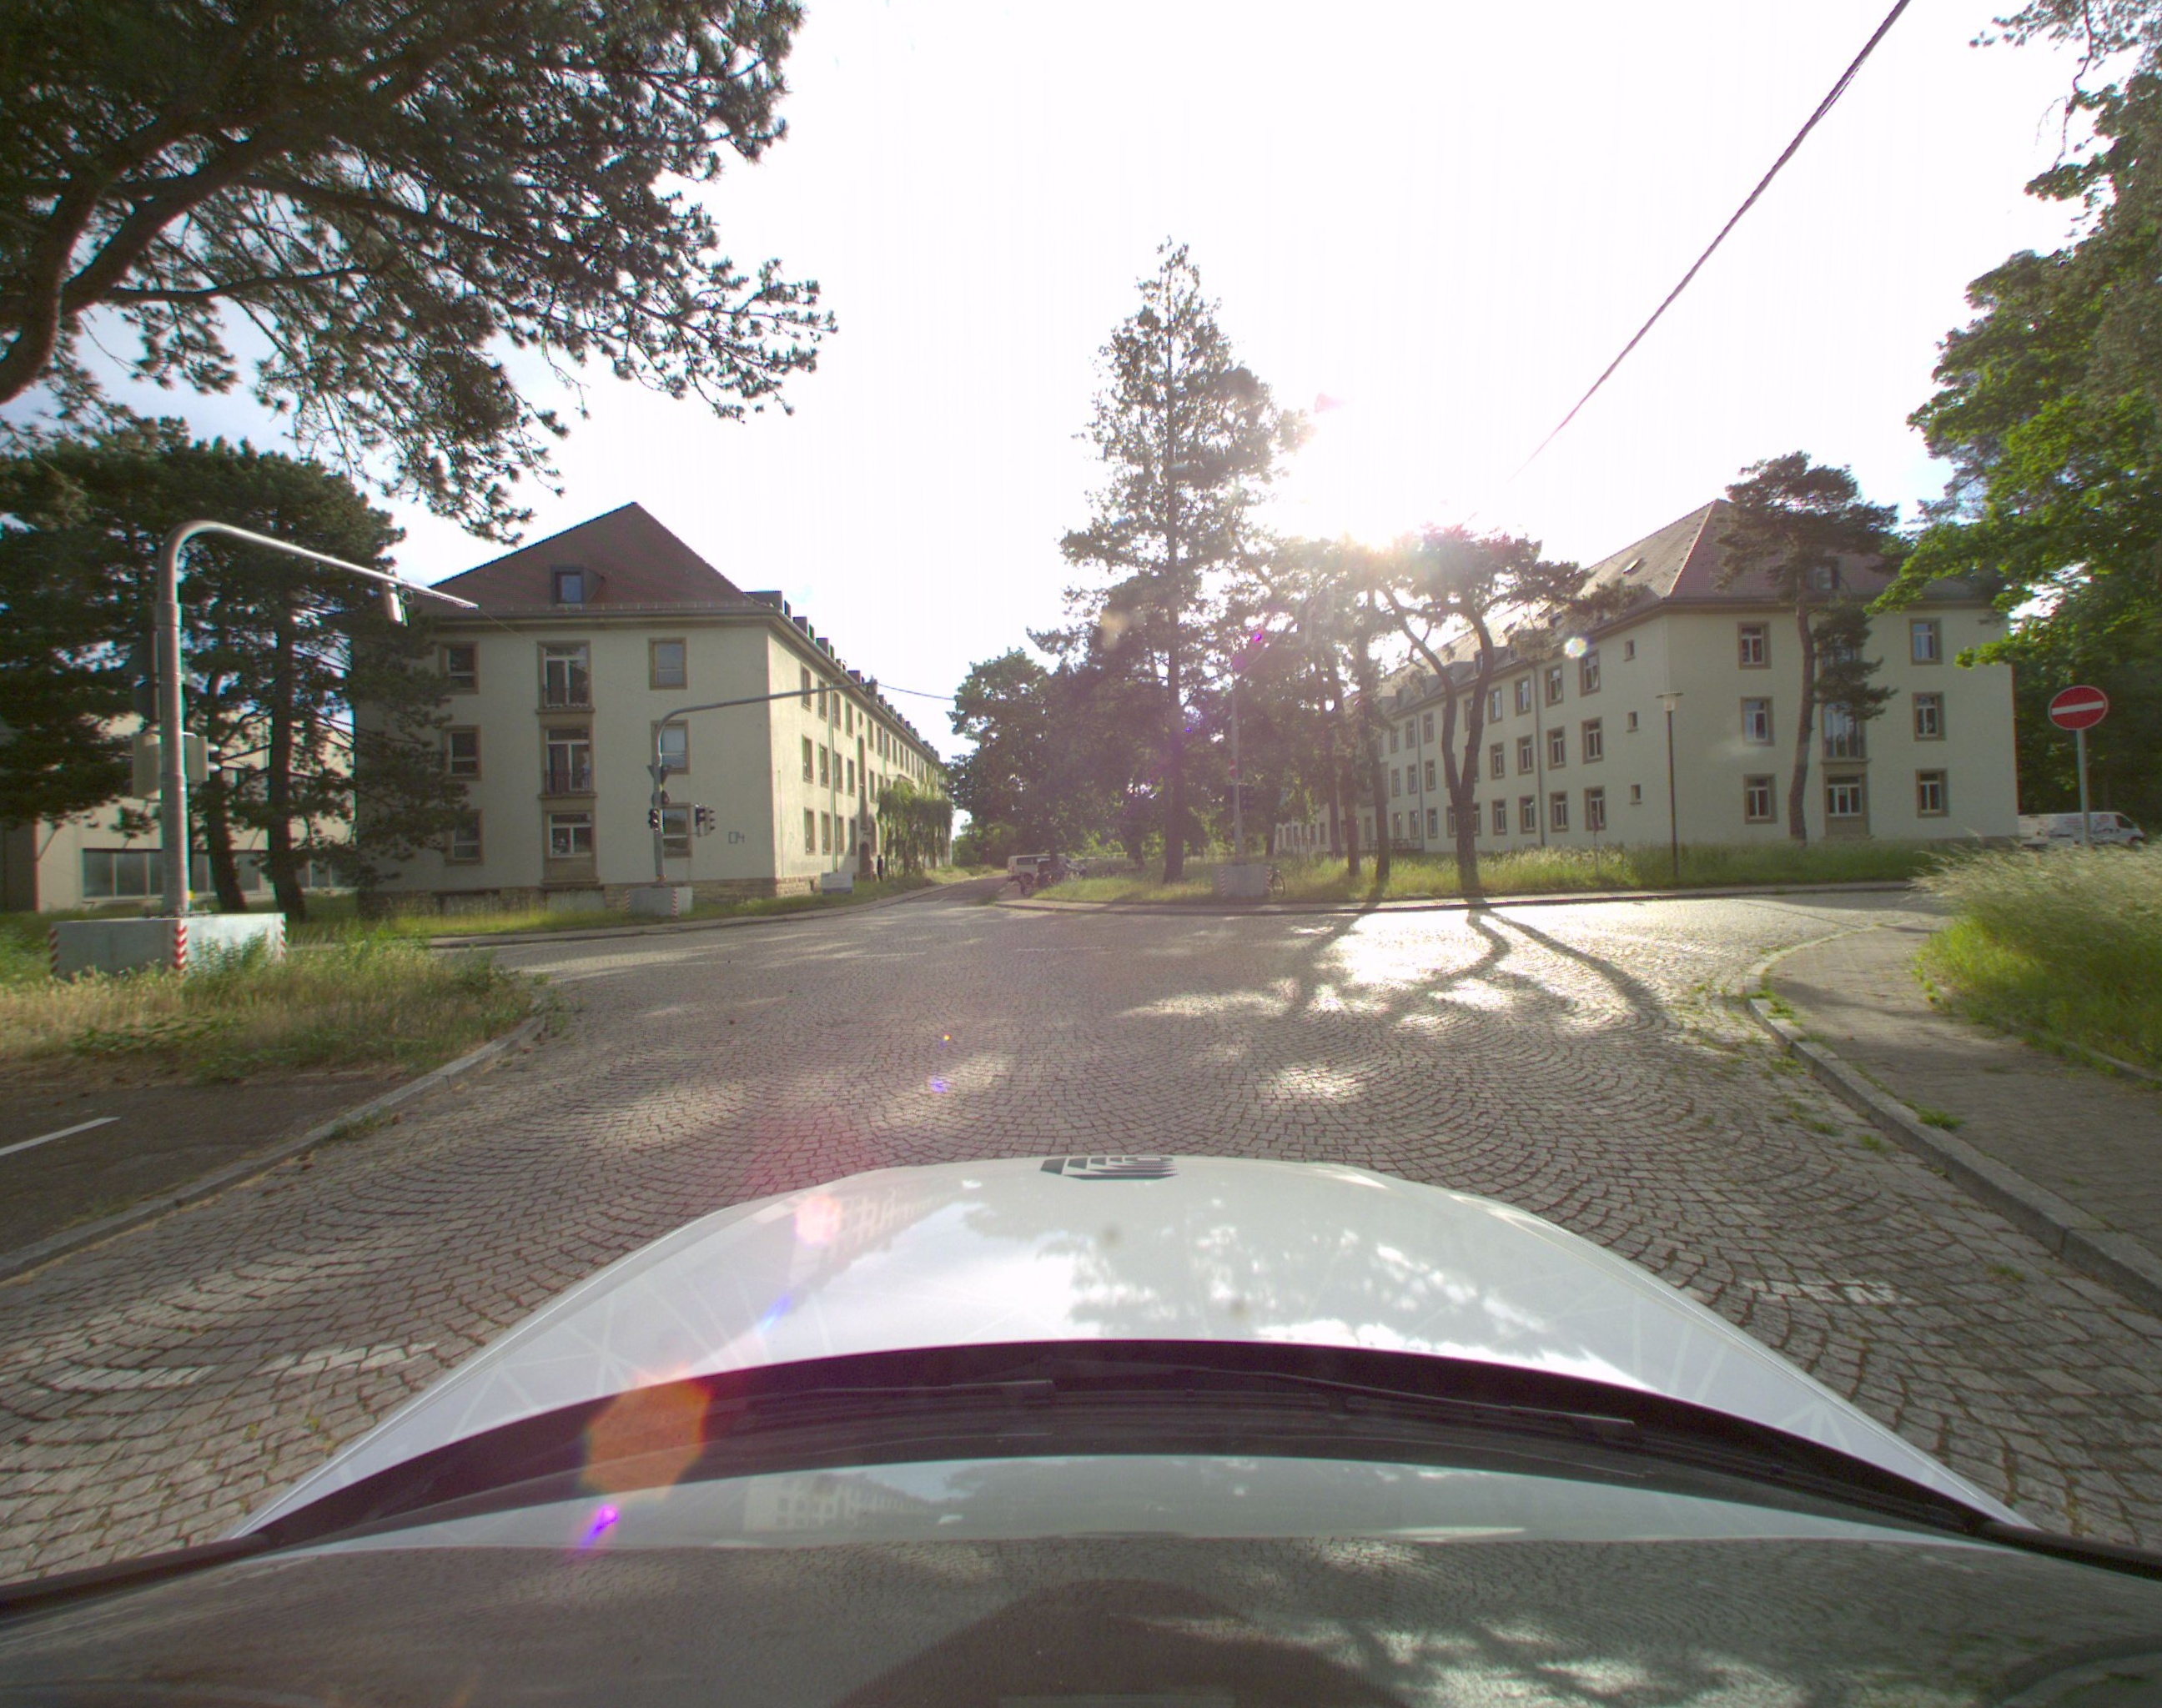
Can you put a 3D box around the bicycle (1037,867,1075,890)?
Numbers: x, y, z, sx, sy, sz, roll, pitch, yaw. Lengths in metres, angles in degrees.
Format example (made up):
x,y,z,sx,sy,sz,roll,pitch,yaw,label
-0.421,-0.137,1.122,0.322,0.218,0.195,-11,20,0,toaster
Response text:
x,y,z,sx,sy,sz,roll,pitch,yaw,label
-1.212,1.188,39.510,1.789,0.999,0.643,-2,0,-5,bicycle

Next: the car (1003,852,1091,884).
x,y,z,sx,sy,sz,roll,pitch,yaw,label
-2.280,0.917,54.374,5.514,1.916,2.241,-2,-1,-17,car

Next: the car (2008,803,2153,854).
x,y,z,sx,sy,sz,roll,pitch,yaw,label
53.885,-1.346,43.971,5.145,2.536,2.262,-2,-1,-2,car

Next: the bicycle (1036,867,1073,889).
x,y,z,sx,sy,sz,roll,pitch,yaw,label
-1.322,1.211,41.005,1.789,0.999,0.643,-2,0,-5,bicycle

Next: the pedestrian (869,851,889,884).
x,y,z,sx,sy,sz,roll,pitch,yaw,label
-12.448,0.820,50.148,0.983,1.963,0.931,-2,-1,-4,pedestrian

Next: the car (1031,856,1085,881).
x,y,z,sx,sy,sz,roll,pitch,yaw,label
-1.433,0.917,50.859,3.038,1.465,1.710,-2,-2,-16,car

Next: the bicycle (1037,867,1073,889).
x,y,z,sx,sy,sz,roll,pitch,yaw,label
-1.353,1.221,41.742,1.789,0.999,0.643,-2,0,-5,bicycle

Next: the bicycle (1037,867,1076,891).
x,y,z,sx,sy,sz,roll,pitch,yaw,label
-1.159,1.171,38.492,1.789,0.999,0.643,-2,0,-5,bicycle

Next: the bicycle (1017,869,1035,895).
x,y,z,sx,sy,sz,roll,pitch,yaw,label
-2.344,1.194,34.824,0.726,0.999,1.797,-2,1,-3,bicycle

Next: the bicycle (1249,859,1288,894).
x,y,z,sx,sy,sz,roll,pitch,yaw,label
5.688,0.660,24.745,0.562,0.999,1.748,-2,1,-7,bicycle
